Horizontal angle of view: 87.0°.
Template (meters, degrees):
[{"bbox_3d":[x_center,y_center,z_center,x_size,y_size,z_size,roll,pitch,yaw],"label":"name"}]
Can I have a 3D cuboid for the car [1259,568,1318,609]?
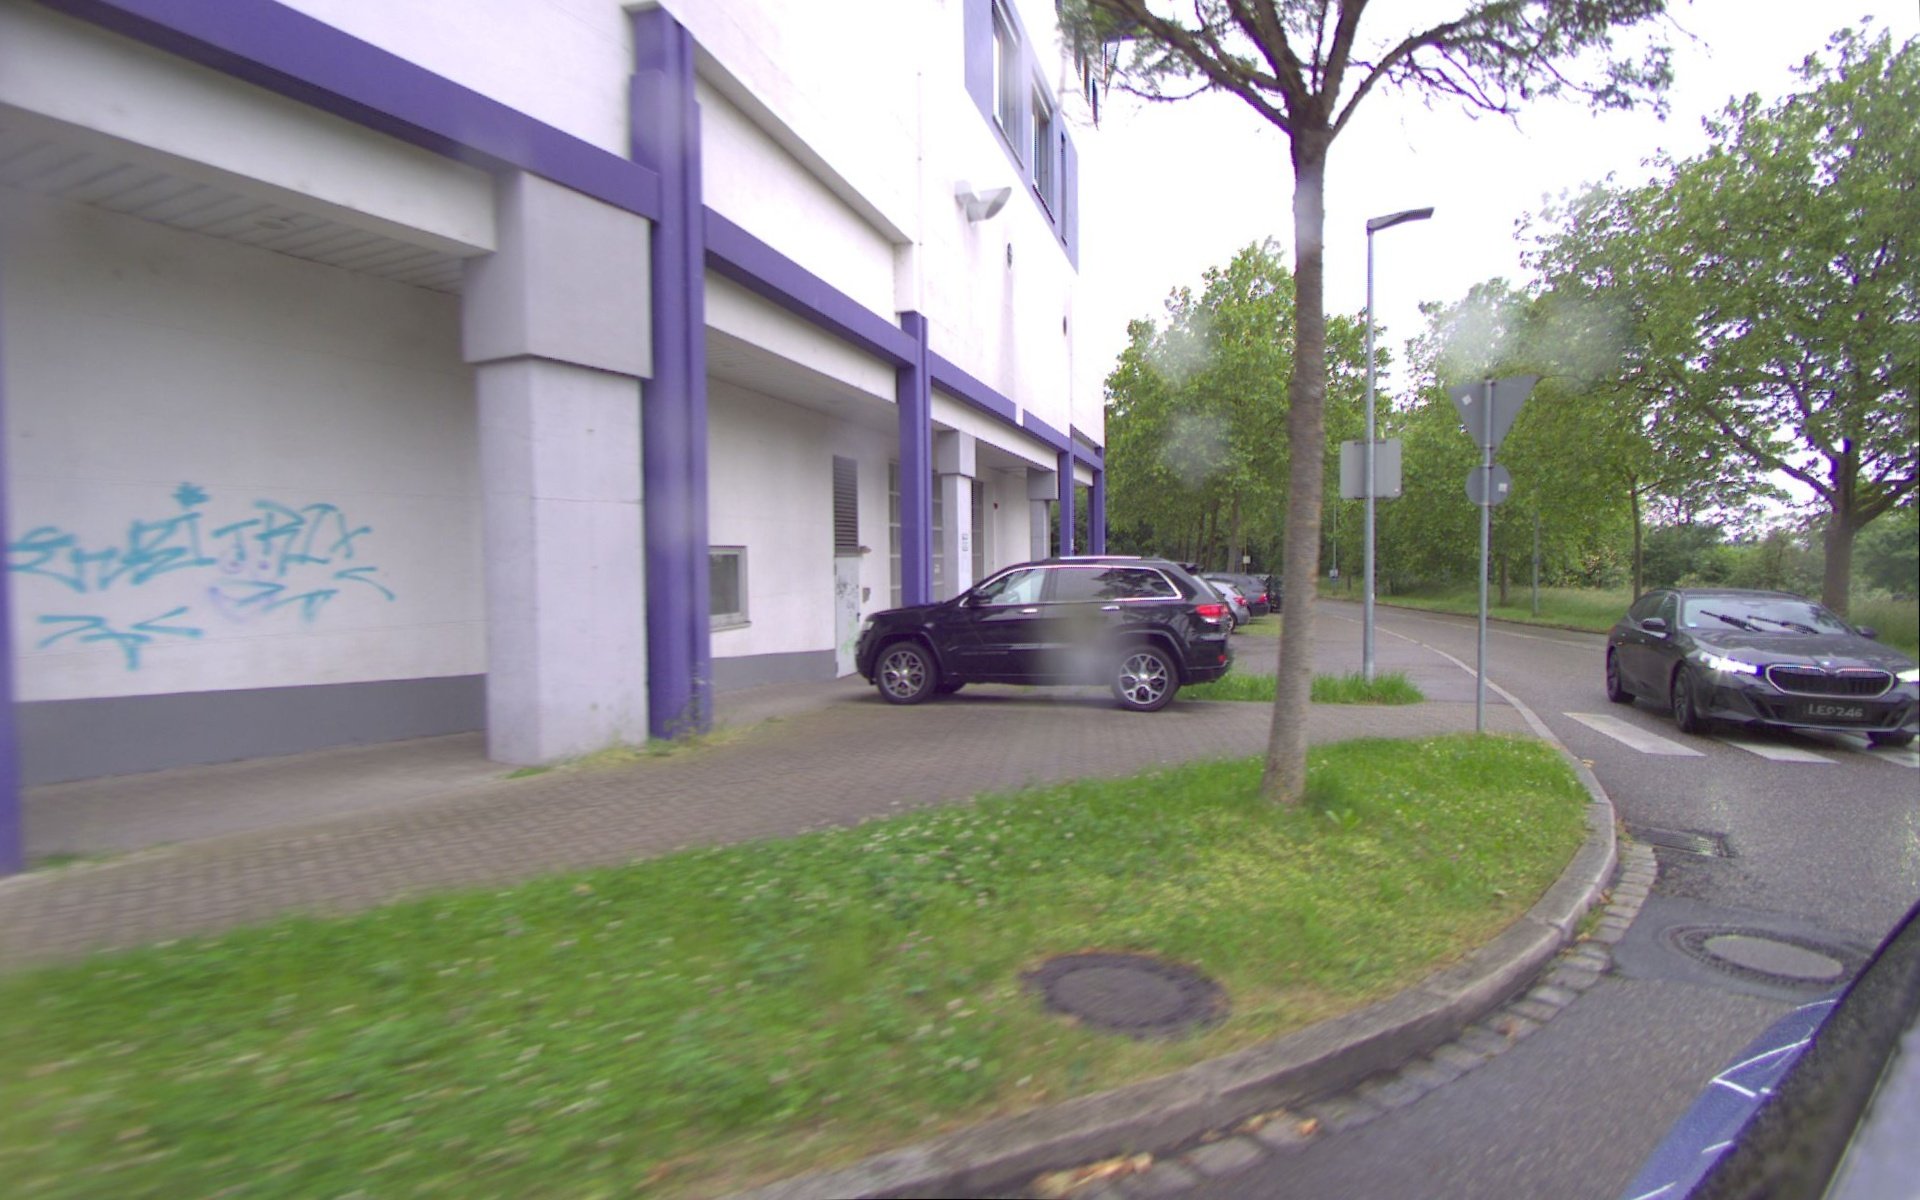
[{"bbox_3d":[14.231,-0.533,44.083,1.778,1.621,4.361,1,2,9],"label":"car"}]

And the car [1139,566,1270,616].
[{"bbox_3d":[8.635,-0.322,36.039,4.414,1.701,1.762,0,1,11],"label":"car"}]

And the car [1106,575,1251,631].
[{"bbox_3d":[6.142,0.057,28.402,3.896,1.471,1.713,0,2,16],"label":"car"}]

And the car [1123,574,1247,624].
[{"bbox_3d":[6.854,-0.056,30.943,3.573,1.471,1.714,0,1,14],"label":"car"}]

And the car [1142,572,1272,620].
[{"bbox_3d":[8.060,-0.157,33.354,4.054,1.496,1.717,0,3,11],"label":"car"}]

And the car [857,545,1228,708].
[{"bbox_3d":[1.069,0.284,12.515,4.329,1.782,1.820,0,-1,16],"label":"car"}]

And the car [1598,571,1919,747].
[{"bbox_3d":[8.852,0.464,11.505,1.823,1.513,4.867,0,2,22],"label":"car"}]
